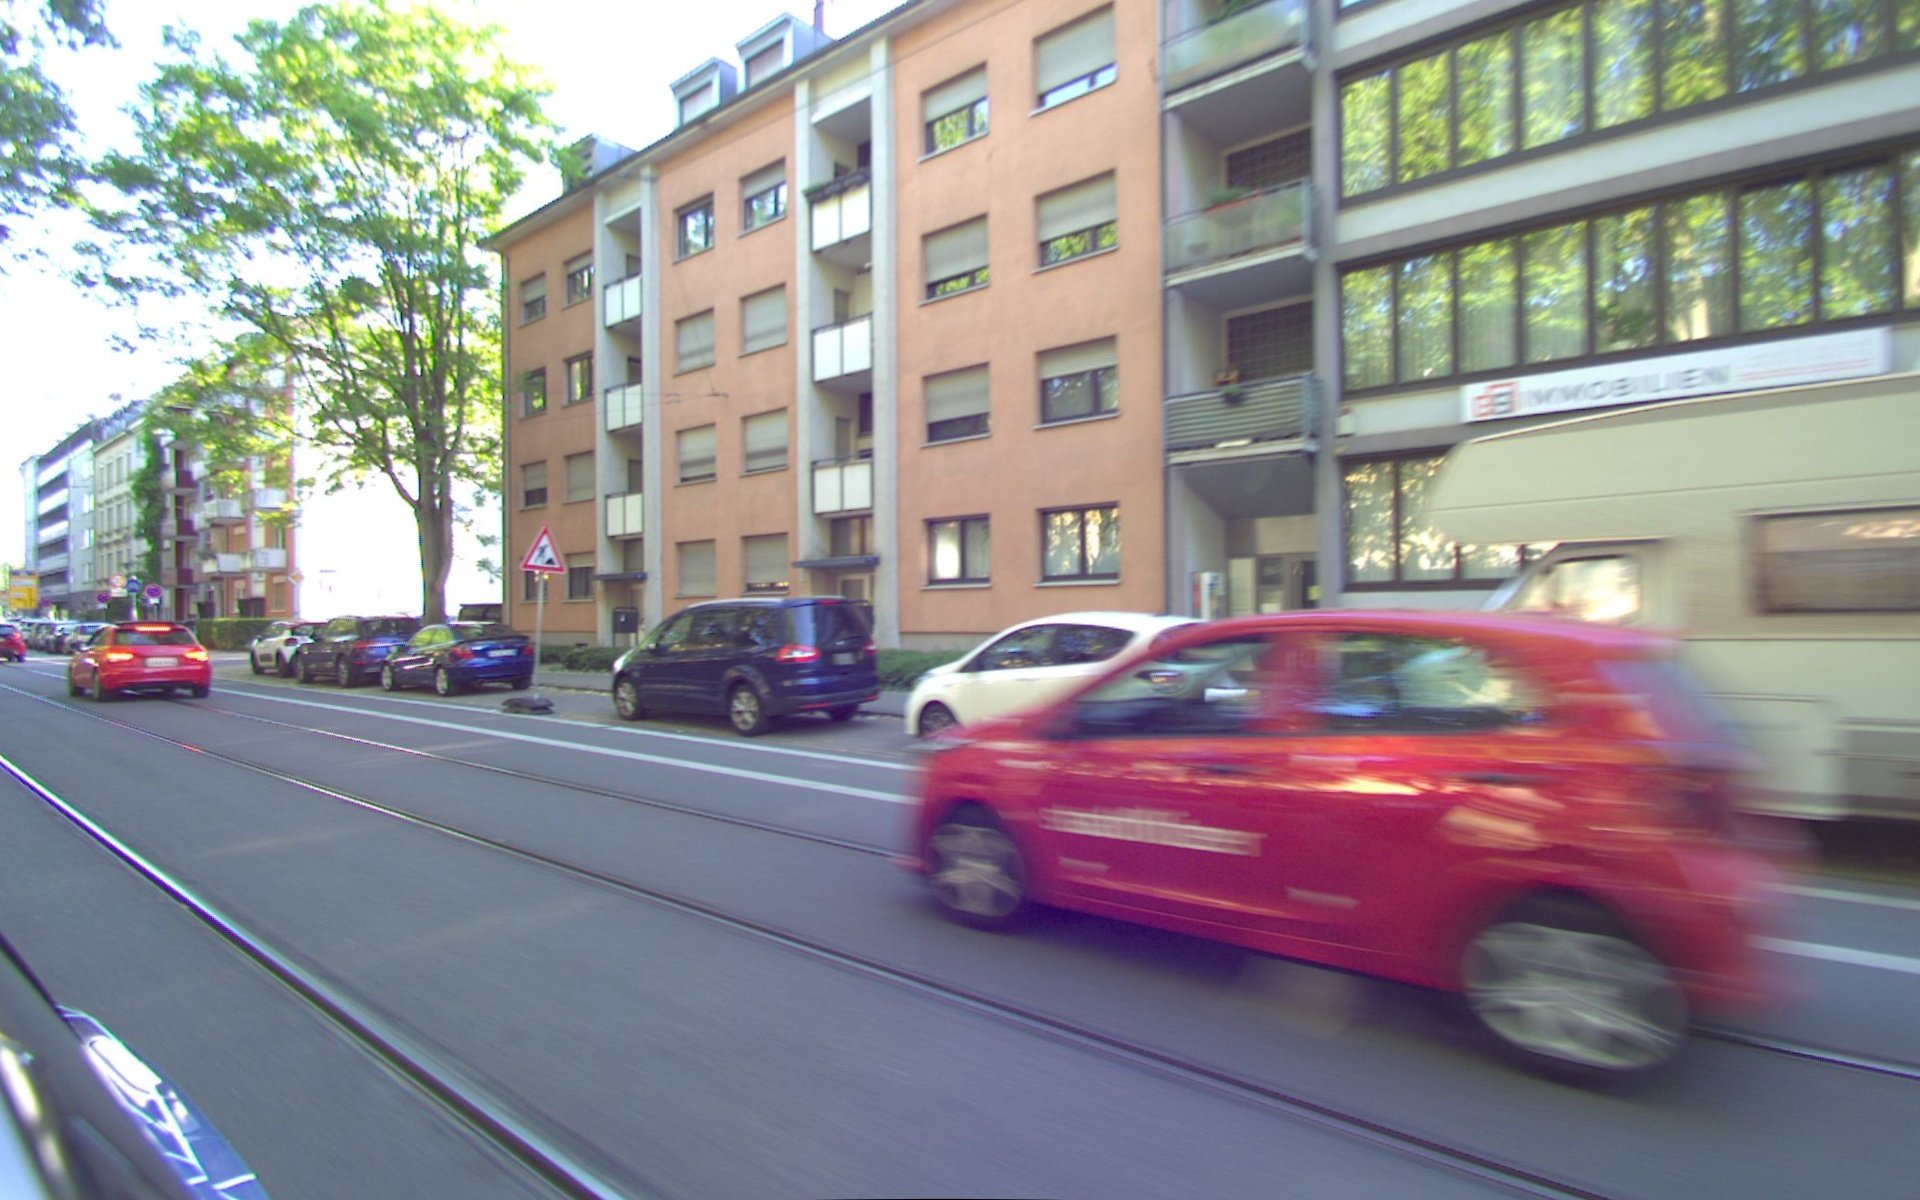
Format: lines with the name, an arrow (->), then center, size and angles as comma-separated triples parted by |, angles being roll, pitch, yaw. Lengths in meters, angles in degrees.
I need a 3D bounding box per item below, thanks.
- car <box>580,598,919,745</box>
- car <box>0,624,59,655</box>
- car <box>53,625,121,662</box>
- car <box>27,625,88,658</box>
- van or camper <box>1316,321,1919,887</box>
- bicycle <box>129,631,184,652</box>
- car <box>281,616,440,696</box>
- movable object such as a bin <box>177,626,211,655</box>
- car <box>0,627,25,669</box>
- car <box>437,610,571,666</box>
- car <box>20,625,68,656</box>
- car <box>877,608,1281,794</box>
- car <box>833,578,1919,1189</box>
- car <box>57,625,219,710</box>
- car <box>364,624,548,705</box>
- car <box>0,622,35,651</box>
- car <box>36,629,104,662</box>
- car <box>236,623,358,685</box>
car -> -3.107, 0.886, 14.215 | 5.066, 1.699, 1.933 | -2, 0, 40
car -> -55.168, 2.297, 59.973 | 4.878, 1.661, 1.933 | -1, 0, 40
car -> -39.749, 1.955, 46.052 | 3.927, 1.494, 1.708 | -2, 1, 40
car -> -47.412, 2.165, 53.139 | 4.001, 1.599, 1.801 | -2, 0, 39
van or camper -> 5.892, -0.020, 6.398 | 6.395, 3.063, 2.313 | -2, 2, 42
bicycle -> -46.907, 2.414, 59.103 | 0.698, 1.070, 2.427 | -2, 0, 38
car -> -14.186, 1.267, 23.830 | 4.584, 1.622, 1.763 | -2, 1, 40
movable object such as a bin -> -37.288, 1.959, 49.289 | 0.747, 1.375, 1.198 | -2, -2, 42
car -> -35.131, 1.695, 36.387 | 4.200, 1.469, 1.757 | -2, -3, 41
car -> -18.173, 1.495, 40.387 | 4.675, 2.139, 1.992 | -1, 0, 13
car -> -50.887, 2.240, 56.222 | 3.780, 1.583, 1.608 | -1, 0, 42
car -> 1.126, 0.906, 10.540 | 3.859, 1.499, 1.693 | -2, 1, 40
car -> 1.385, 0.745, 4.408 | 3.948, 1.490, 1.646 | -2, -2, 41
car -> -15.694, 1.208, 19.250 | 4.066, 1.448, 1.705 | -2, -2, 41
car -> -10.342, 1.243, 20.632 | 4.379, 1.411, 1.721 | -2, 1, 40
car -> -63.227, 2.412, 67.296 | 4.465, 1.784, 1.771 | -2, 0, 38
car -> -43.598, 2.198, 49.530 | 4.861, 1.405, 1.932 | -2, 1, 42
car -> -18.256, 1.409, 27.793 | 4.088, 1.489, 1.787 | -1, 1, 42
